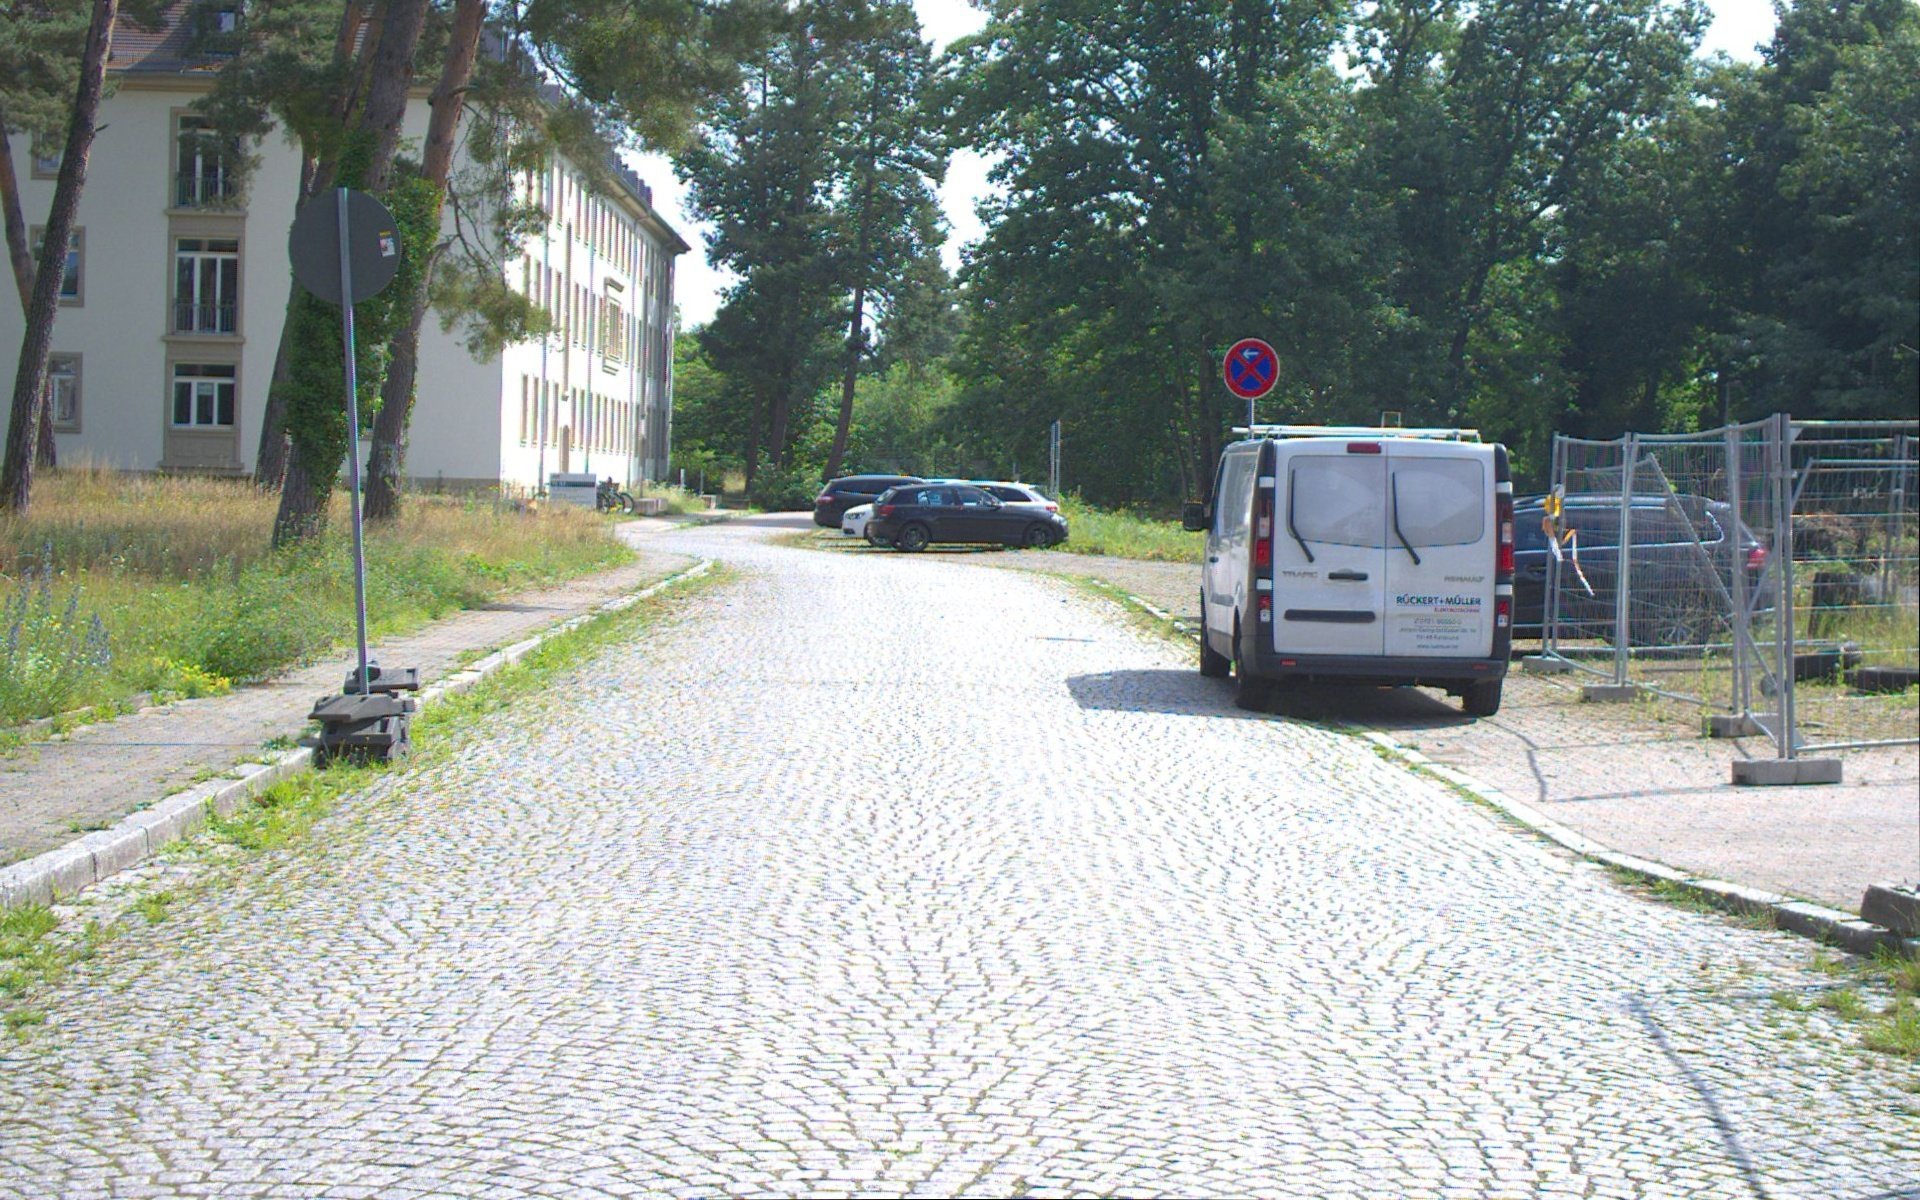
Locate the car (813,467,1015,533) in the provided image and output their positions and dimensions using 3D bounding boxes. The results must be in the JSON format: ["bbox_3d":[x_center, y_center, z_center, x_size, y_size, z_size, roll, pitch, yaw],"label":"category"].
[{"bbox_3d":[-1.150,-2.435,83.837,4.852,1.547,1.880,0,1,-2],"label":"car"}]

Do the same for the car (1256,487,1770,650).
[{"bbox_3d":[5.127,-0.316,32.199,4.453,1.470,1.746,0,2,-5],"label":"car"}]

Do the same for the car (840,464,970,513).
[{"bbox_3d":[-1.782,-3.623,111.944,4.187,1.538,1.820,0,1,1],"label":"car"}]

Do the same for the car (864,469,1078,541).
[{"bbox_3d":[0.214,-2.032,73.355,4.323,1.495,1.831,0,3,-9],"label":"car"}]

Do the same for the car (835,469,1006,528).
[{"bbox_3d":[-1.044,-2.621,89.150,4.398,1.479,1.766,0,1,-2],"label":"car"}]

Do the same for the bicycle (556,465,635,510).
[{"bbox_3d":[-10.681,-3.298,100.843,2.222,1.256,0.623,1,2,2],"label":"bicycle"}]

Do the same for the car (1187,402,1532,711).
[{"bbox_3d":[2.892,-0.389,26.108,1.914,2.046,5.679,1,2,0],"label":"car"}]

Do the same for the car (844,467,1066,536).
[{"bbox_3d":[-0.144,-2.192,76.499,4.861,1.467,1.875,0,3,-2],"label":"car"}]
